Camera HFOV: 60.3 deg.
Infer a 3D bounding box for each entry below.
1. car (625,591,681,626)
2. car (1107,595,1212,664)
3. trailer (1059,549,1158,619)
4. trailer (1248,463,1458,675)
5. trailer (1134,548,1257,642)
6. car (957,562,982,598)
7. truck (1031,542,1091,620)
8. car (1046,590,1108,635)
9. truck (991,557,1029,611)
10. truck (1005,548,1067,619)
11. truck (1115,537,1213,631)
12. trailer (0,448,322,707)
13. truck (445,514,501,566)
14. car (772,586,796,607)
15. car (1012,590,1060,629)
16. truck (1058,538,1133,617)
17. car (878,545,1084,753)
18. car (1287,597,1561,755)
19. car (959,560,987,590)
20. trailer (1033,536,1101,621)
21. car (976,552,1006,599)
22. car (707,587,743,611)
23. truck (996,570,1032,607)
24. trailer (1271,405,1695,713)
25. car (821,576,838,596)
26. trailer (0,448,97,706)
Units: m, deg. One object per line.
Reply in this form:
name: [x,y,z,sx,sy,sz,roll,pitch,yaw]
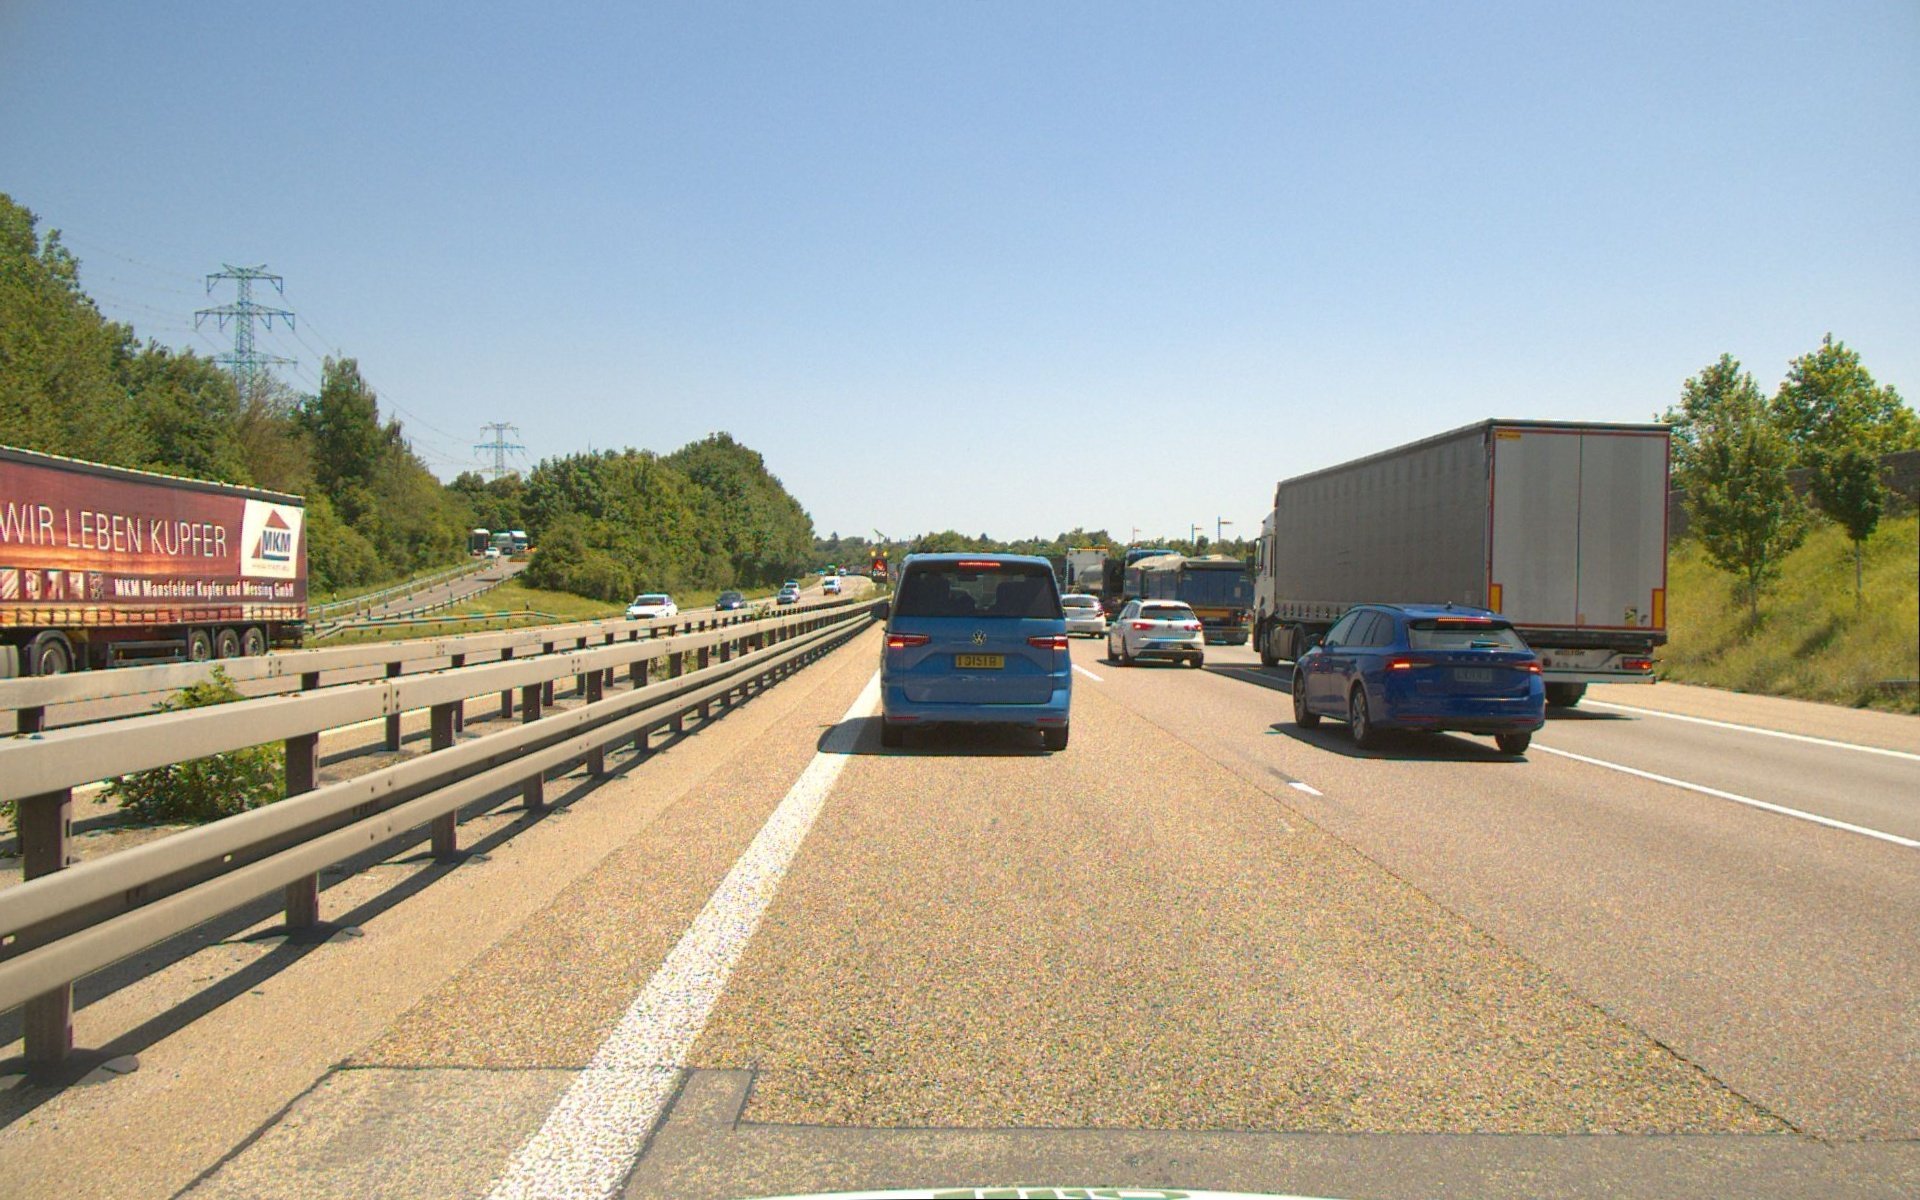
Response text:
car: [-13.451,0.372,72.647,1.813,1.493,4.302,-1,0,-2]
car: [4.358,0.612,36.674,1.829,1.385,4.000,1,0,0]
trailer: [7.358,-0.704,84.347,3.572,3.133,15.770,1,0,0]
trailer: [8.252,-0.640,35.554,2.865,4.114,6.409,1,0,-1]
trailer: [7.882,-0.255,56.566,2.688,2.886,9.114,1,1,-1]
car: [1.399,-2.983,254.988,3.155,5.349,8.136,1,0,-4]
truck: [7.079,-1.275,116.452,3.585,5.270,5.706,1,-1,-2]
car: [4.044,0.437,57.789,1.803,1.480,3.999,1,0,-1]
truck: [4.851,-1.515,161.576,3.006,5.006,10.687,1,0,-1]
truck: [6.000,-1.203,133.865,3.549,5.304,15.680,1,0,-2]
truck: [7.762,-0.656,63.741,2.688,3.369,7.132,1,1,-1]
trailer: [-16.479,-0.401,32.053,2.707,4.045,14.678,-1,1,-1]
truck: [-73.268,-8.947,248.591,4.625,7.354,13.497,2,-1,-31]
car: [-14.868,-0.299,139.744,1.737,1.659,3.949,1,0,-2]
car: [3.220,0.401,70.448,1.745,1.551,3.999,1,0,-1]
truck: [7.533,-1.188,93.171,3.551,4.166,7.524,1,0,0]
car: [0.201,0.466,17.305,1.862,1.870,4.000,1,0,0]
car: [4.854,0.737,17.945,1.671,1.466,4.427,1,0,-1]
car: [1.257,-2.445,162.297,2.499,2.765,5.619,1,0,-1]
trailer: [6.976,-1.298,110.048,3.572,5.226,13.074,1,0,0]
car: [3.624,-2.900,197.213,3.153,5.349,8.142,1,0,-1]
car: [-14.893,-0.049,104.905,1.838,1.472,4.143,-1,0,-2]
truck: [2.894,-0.608,89.281,1.690,1.890,3.999,1,0,-1]
trailer: [8.348,-0.585,29.190,2.902,4.120,13.749,1,0,-1]
car: [-18.703,-2.005,237.477,2.011,2.697,5.837,2,0,-2]
trailer: [-16.370,-0.326,25.699,2.701,4.045,6.130,-1,1,-1]
